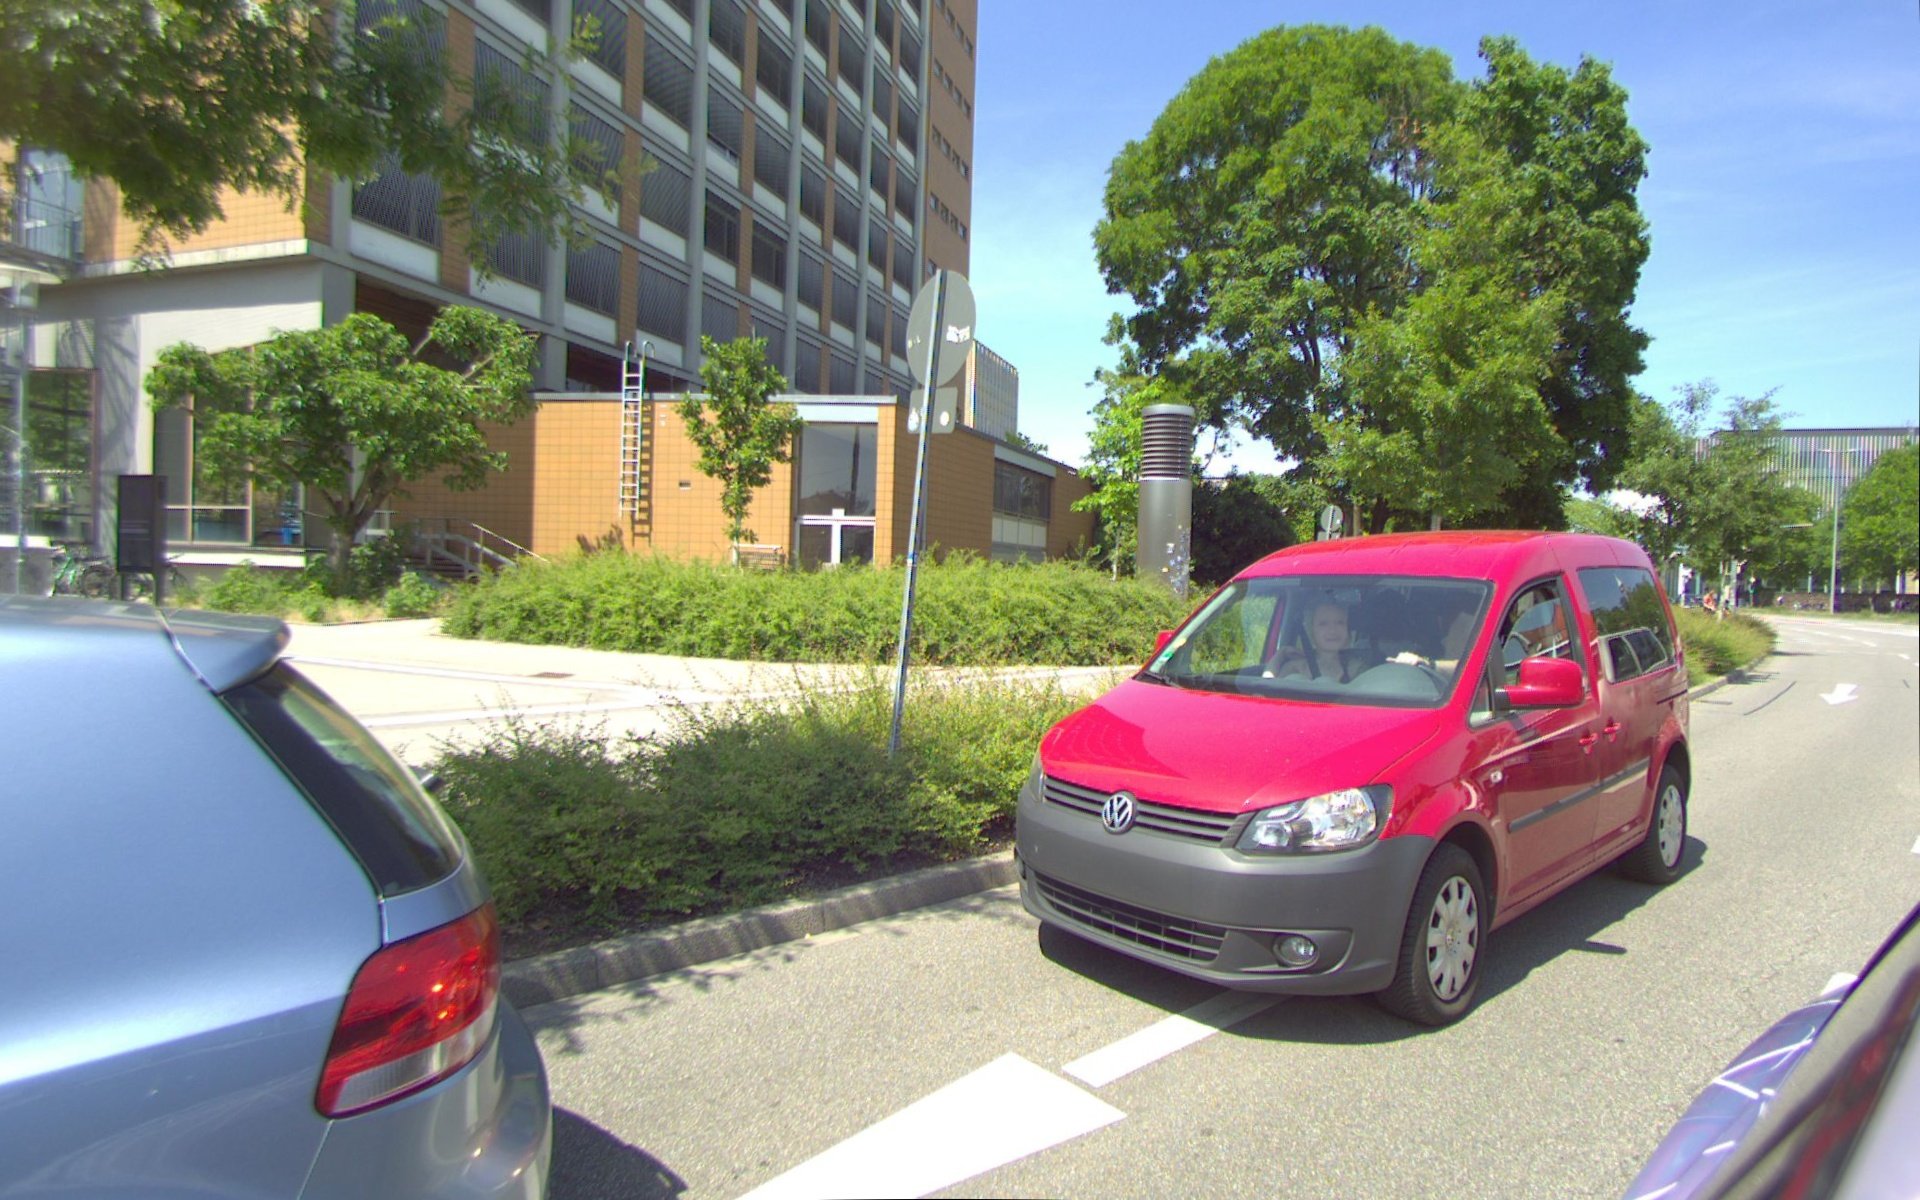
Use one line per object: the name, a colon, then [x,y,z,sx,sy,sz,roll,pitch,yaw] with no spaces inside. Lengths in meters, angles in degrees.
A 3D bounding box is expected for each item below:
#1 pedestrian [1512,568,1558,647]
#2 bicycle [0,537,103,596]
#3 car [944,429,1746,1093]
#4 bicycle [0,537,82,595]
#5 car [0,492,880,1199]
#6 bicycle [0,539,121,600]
pedestrian: [13.678,0.167,24.080,0.603,1.820,0.728,1,1,-40]
bicycle: [-20.033,-0.701,21.932,0.630,1.233,2.202,0,0,22]
car: [2.183,0.446,4.933,4.464,1.882,1.655,0,1,-40]
bicycle: [-20.745,-0.737,22.209,0.630,1.233,2.201,0,0,22]
car: [-2.160,0.617,1.105,3.933,1.477,1.654,0,0,-41]
bicycle: [-19.345,-0.637,21.577,0.630,1.233,2.202,0,0,22]
